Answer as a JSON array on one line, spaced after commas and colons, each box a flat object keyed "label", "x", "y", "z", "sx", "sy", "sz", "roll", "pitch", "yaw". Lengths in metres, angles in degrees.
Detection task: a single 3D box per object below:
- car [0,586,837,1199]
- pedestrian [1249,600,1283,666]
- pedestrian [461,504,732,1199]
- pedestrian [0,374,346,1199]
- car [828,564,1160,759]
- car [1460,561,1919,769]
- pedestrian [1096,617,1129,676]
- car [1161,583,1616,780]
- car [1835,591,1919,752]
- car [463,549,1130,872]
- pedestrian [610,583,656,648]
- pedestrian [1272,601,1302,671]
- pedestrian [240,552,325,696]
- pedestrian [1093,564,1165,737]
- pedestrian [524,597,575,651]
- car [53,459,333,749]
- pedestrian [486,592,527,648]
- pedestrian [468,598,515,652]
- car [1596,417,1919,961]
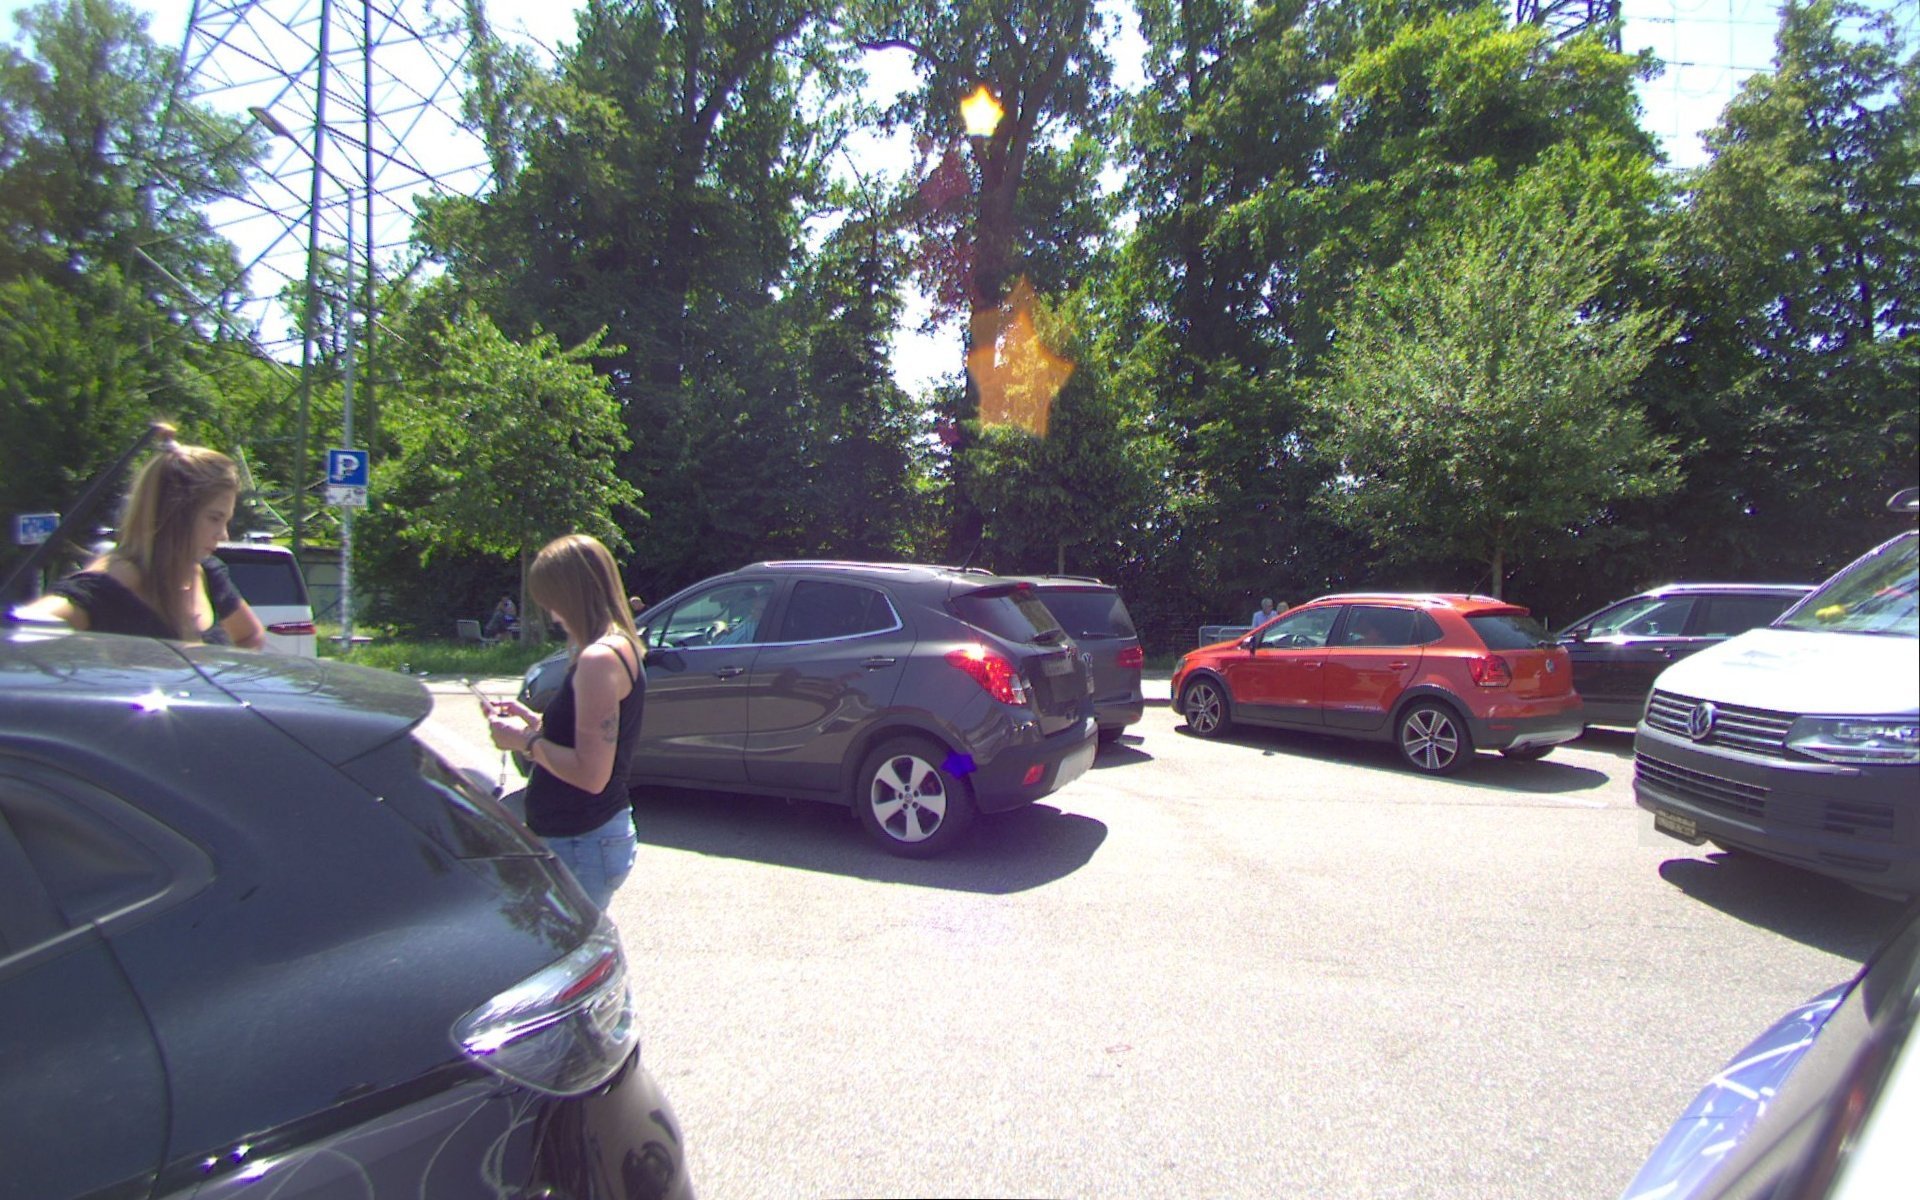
[{"label": "car", "x": -2.058, "y": 0.734, "z": 0.767, "sx": 1.776, "sy": 1.476, "sz": 3.628, "roll": 0, "pitch": 0, "yaw": 44}, {"label": "pedestrian", "x": 5.756, "y": 0.613, "z": 19.042, "sx": 0.433, "sy": 1.207, "sz": 0.414, "roll": 0, "pitch": 0, "yaw": -30}, {"label": "pedestrian", "x": -0.939, "y": 0.591, "z": 2.612, "sx": 0.477, "sy": 1.614, "sz": 0.502, "roll": 1, "pitch": -1, "yaw": -44}, {"label": "pedestrian", "x": -1.869, "y": 0.507, "z": 2.416, "sx": 0.477, "sy": 1.883, "sz": 0.914, "roll": 1, "pitch": -1, "yaw": -19}, {"label": "car", "x": 0.147, "y": 0.504, "z": 10.617, "sx": 1.670, "sy": 1.637, "sz": 3.912, "roll": 0, "pitch": 0, "yaw": -30}, {"label": "car", "x": 7.151, "y": 0.508, "z": 9.733, "sx": 1.679, "sy": 1.637, "sz": 3.863, "roll": 1, "pitch": 0, "yaw": -40}, {"label": "pedestrian", "x": 2.375, "y": 0.715, "z": 15.765, "sx": 0.494, "sy": 0.890, "sz": 0.512, "roll": 1, "pitch": -1, "yaw": 10}, {"label": "car", "x": 3.852, "y": 0.618, "z": 9.670, "sx": 1.588, "sy": 1.485, "sz": 3.751, "roll": 1, "pitch": 0, "yaw": -34}, {"label": "car", "x": 10.305, "y": 0.676, "z": 8.817, "sx": 1.813, "sy": 1.473, "sz": 3.776, "roll": 1, "pitch": 0, "yaw": -36}, {"label": "car", "x": -1.096, "y": 0.540, "z": 6.809, "sx": 4.121, "sy": 1.637, "sz": 1.824, "roll": 1, "pitch": 0, "yaw": 24}, {"label": "pedestrian", "x": -6.883, "y": 0.315, "z": 21.340, "sx": 0.539, "sy": 1.354, "sz": 0.758, "roll": 0, "pitch": 0, "yaw": 37}, {"label": "pedestrian", "x": 5.764, "y": 0.623, "z": 17.850, "sx": 0.348, "sy": 1.207, "sz": 0.367, "roll": 0, "pitch": 0, "yaw": -20}, {"label": "pedestrian", "x": -9.337, "y": 0.313, "z": 13.947, "sx": 0.836, "sy": 1.903, "sz": 0.765, "roll": 0, "pitch": 0, "yaw": 39}, {"label": "pedestrian", "x": 1.758, "y": 0.504, "z": 10.556, "sx": 0.576, "sy": 1.744, "sz": 0.483, "roll": 0, "pitch": 0, "yaw": -20}, {"label": "pedestrian", "x": -9.583, "y": 0.544, "z": 23.624, "sx": 0.810, "sy": 1.201, "sz": 0.836, "roll": 0, "pitch": 0, "yaw": 40}, {"label": "car", "x": -8.378, "y": 0.026, "z": 10.842, "sx": 1.897, "sy": 2.400, "sz": 4.963, "roll": 1, "pitch": -1, "yaw": -43}, {"label": "pedestrian", "x": -10.998, "y": 0.480, "z": 24.536, "sx": 0.539, "sy": 1.318, "sz": 0.758, "roll": 0, "pitch": 0, "yaw": 37}, {"label": "pedestrian", "x": -10.508, "y": 0.540, "z": 22.693, "sx": 0.785, "sy": 1.178, "sz": 0.696, "roll": 0, "pitch": 0, "yaw": 39}, {"label": "car", "x": 6.274, "y": 0.367, "z": 4.686, "sx": 5.336, "sy": 2.131, "sz": 1.842, "roll": 1, "pitch": 1, "yaw": 4}]
